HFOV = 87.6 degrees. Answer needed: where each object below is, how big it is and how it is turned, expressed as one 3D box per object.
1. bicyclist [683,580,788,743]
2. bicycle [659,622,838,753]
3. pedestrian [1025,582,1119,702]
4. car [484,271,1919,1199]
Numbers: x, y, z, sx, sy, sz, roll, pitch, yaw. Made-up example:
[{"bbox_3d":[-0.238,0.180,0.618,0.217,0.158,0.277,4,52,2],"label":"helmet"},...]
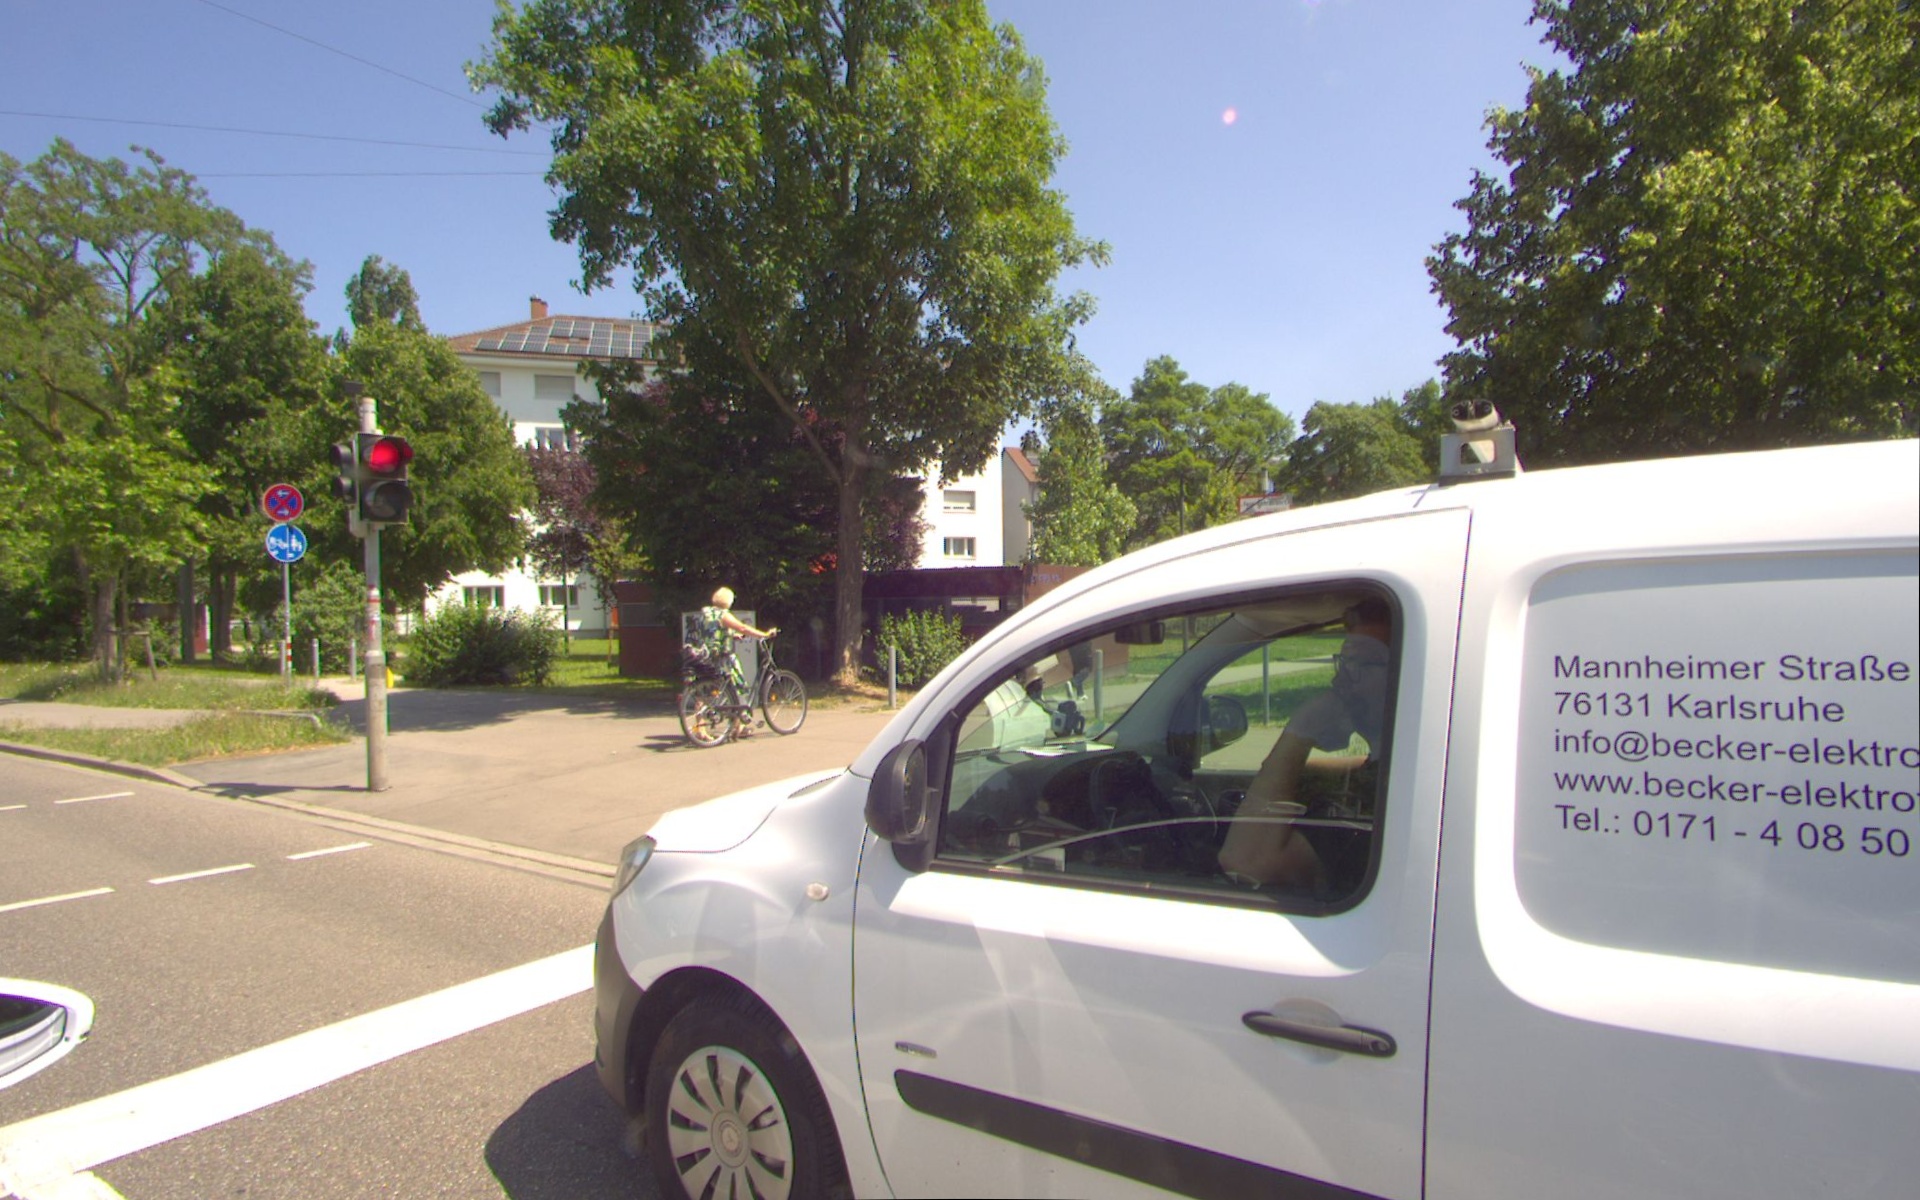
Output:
[{"bbox_3d":[-2.462,0.641,11.046,0.574,1.690,0.951,3,4,43],"label":"bicyclist"},{"bbox_3d":[-2.241,0.893,10.847,0.535,1.177,1.946,3,4,42],"label":"bicycle"},{"bbox_3d":[1.767,0.639,15.777,1.175,1.801,0.833,-3,1,-40],"label":"pedestrian"},{"bbox_3d":[1.122,0.567,2.307,4.384,1.850,1.990,-1,0,32],"label":"car"}]
